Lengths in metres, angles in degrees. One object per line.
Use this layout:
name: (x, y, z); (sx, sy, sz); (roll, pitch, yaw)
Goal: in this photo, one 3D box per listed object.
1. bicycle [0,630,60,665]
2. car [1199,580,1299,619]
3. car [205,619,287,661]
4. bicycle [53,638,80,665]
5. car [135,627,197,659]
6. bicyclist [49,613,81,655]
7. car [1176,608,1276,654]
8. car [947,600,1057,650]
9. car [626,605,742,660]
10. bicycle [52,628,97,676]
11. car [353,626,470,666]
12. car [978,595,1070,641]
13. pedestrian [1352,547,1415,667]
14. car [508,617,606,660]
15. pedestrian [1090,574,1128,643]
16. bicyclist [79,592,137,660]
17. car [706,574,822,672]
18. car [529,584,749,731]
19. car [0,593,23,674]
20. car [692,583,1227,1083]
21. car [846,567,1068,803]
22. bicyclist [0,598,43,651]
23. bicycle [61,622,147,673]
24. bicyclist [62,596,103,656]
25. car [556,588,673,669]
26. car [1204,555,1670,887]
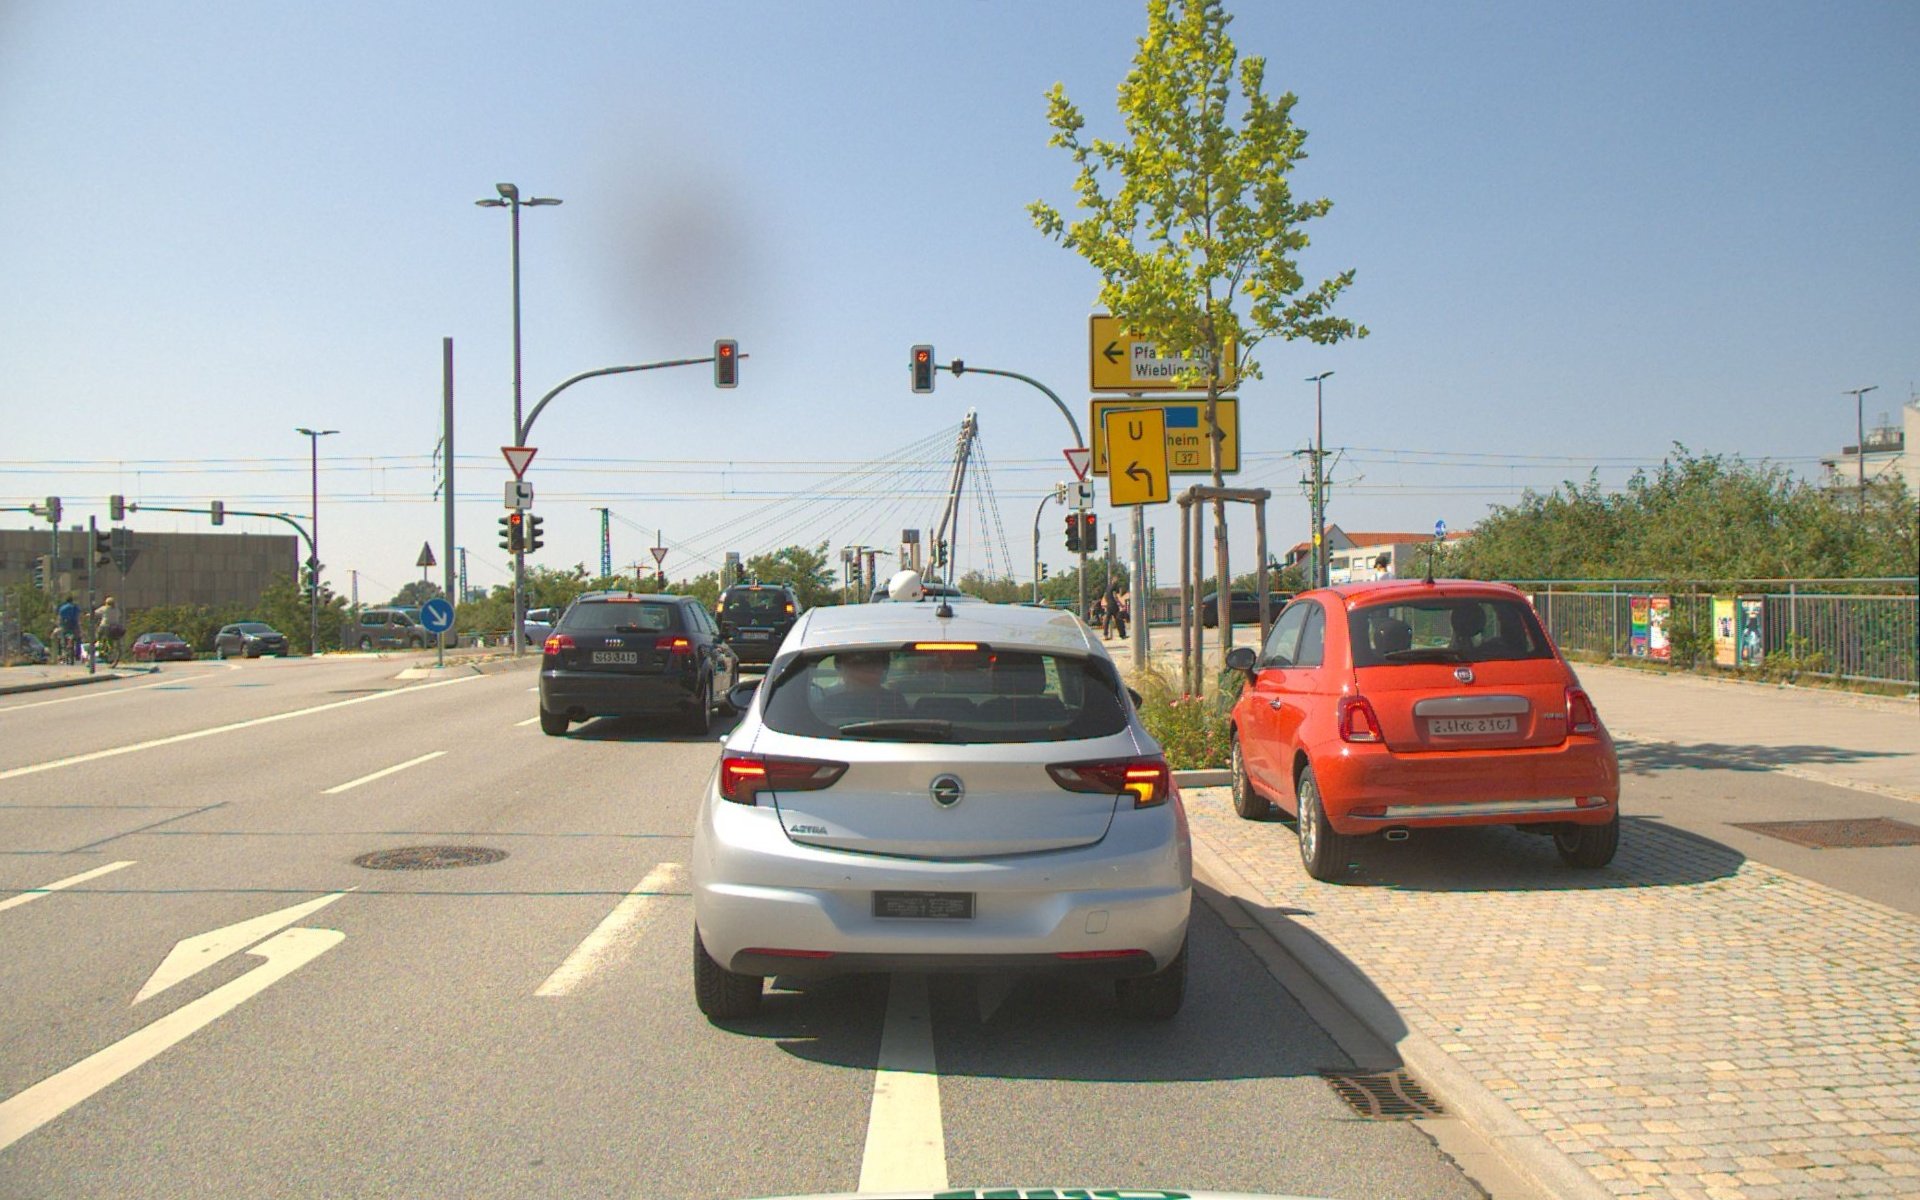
bicycle: (-27.868, 1.410, 49.155); (2.454, 1.025, 0.605); (-1, -2, 25)
car: (13.488, -0.008, 77.157); (4.180, 1.703, 1.990); (1, -1, -18)
car: (-31.928, 1.792, 73.938); (4.135, 1.771, 1.708); (1, -1, 41)
bicycle: (-25.606, 1.466, 47.390); (0.509, 0.704, 2.228); (1, -1, -32)
car: (-39.384, 2.142, 82.005); (1.671, 1.481, 3.937); (2, -1, -43)
bicyclist: (-25.646, 0.973, 47.415); (0.723, 1.196, 0.650); (0, -1, -37)
car: (10.346, 1.204, 64.409); (3.443, 1.669, 1.796); (1, -1, -10)
car: (1.490, 0.896, 59.398); (3.742, 1.657, 1.854); (1, -1, -6)
car: (-10.537, 1.230, 63.281); (3.902, 2.049, 2.002); (0, -1, 10)
bicycle: (-23.550, 1.362, 43.981); (0.720, 1.153, 2.502); (-6, 2, -34)
car: (-22.451, 1.871, 67.687); (4.382, 1.481, 1.998); (1, -1, 25)
car: (2.978, 0.845, 77.302); (3.916, 2.049, 1.994); (-1, -1, -12)
pedestrian: (6.734, 0.118, 26.345); (0.743, 1.862, 0.884); (1, -1, -1)
car: (-14.628, 1.389, 60.107); (3.076, 1.464, 1.587); (1, -1, 10)
pedestrian: (4.162, 0.233, 46.206); (0.740, 1.896, 0.738); (0, -1, 40)
bicyclist: (-20.239, 0.619, 39.286); (0.928, 1.596, 0.821); (1, -1, 31)
car: (-3.670, 0.437, 31.591); (1.767, 1.650, 3.915); (-3, -1, -2)
car: (-3.387, 0.587, 18.155); (1.671, 1.437, 3.999); (0, -1, -1)
car: (-25.739, 0.841, 43.362); (1.656, 2.049, 3.952); (2, -1, -34)
car: (-0.048, 0.731, 7.287); (1.656, 1.546, 4.269); (0, 0, -1)
car: (-0.071, 0.656, 14.106); (1.602, 1.703, 3.743); (1, -1, -2)
bicyclist: (-27.852, 0.725, 49.099); (0.643, 1.528, 0.843); (1, -1, 23)
bicycle: (-20.391, 1.119, 39.369); (2.314, 1.147, 0.676); (1, -1, 30)
bicyclist: (-23.351, 0.693, 44.016); (0.853, 1.587, 0.815); (2, -1, -35)
car: (-6.382, 0.521, 30.812); (1.555, 1.419, 3.338); (0, -1, -2)
car: (2.631, 0.546, 10.066); (1.635, 1.566, 3.916); (-2, 1, -1)
